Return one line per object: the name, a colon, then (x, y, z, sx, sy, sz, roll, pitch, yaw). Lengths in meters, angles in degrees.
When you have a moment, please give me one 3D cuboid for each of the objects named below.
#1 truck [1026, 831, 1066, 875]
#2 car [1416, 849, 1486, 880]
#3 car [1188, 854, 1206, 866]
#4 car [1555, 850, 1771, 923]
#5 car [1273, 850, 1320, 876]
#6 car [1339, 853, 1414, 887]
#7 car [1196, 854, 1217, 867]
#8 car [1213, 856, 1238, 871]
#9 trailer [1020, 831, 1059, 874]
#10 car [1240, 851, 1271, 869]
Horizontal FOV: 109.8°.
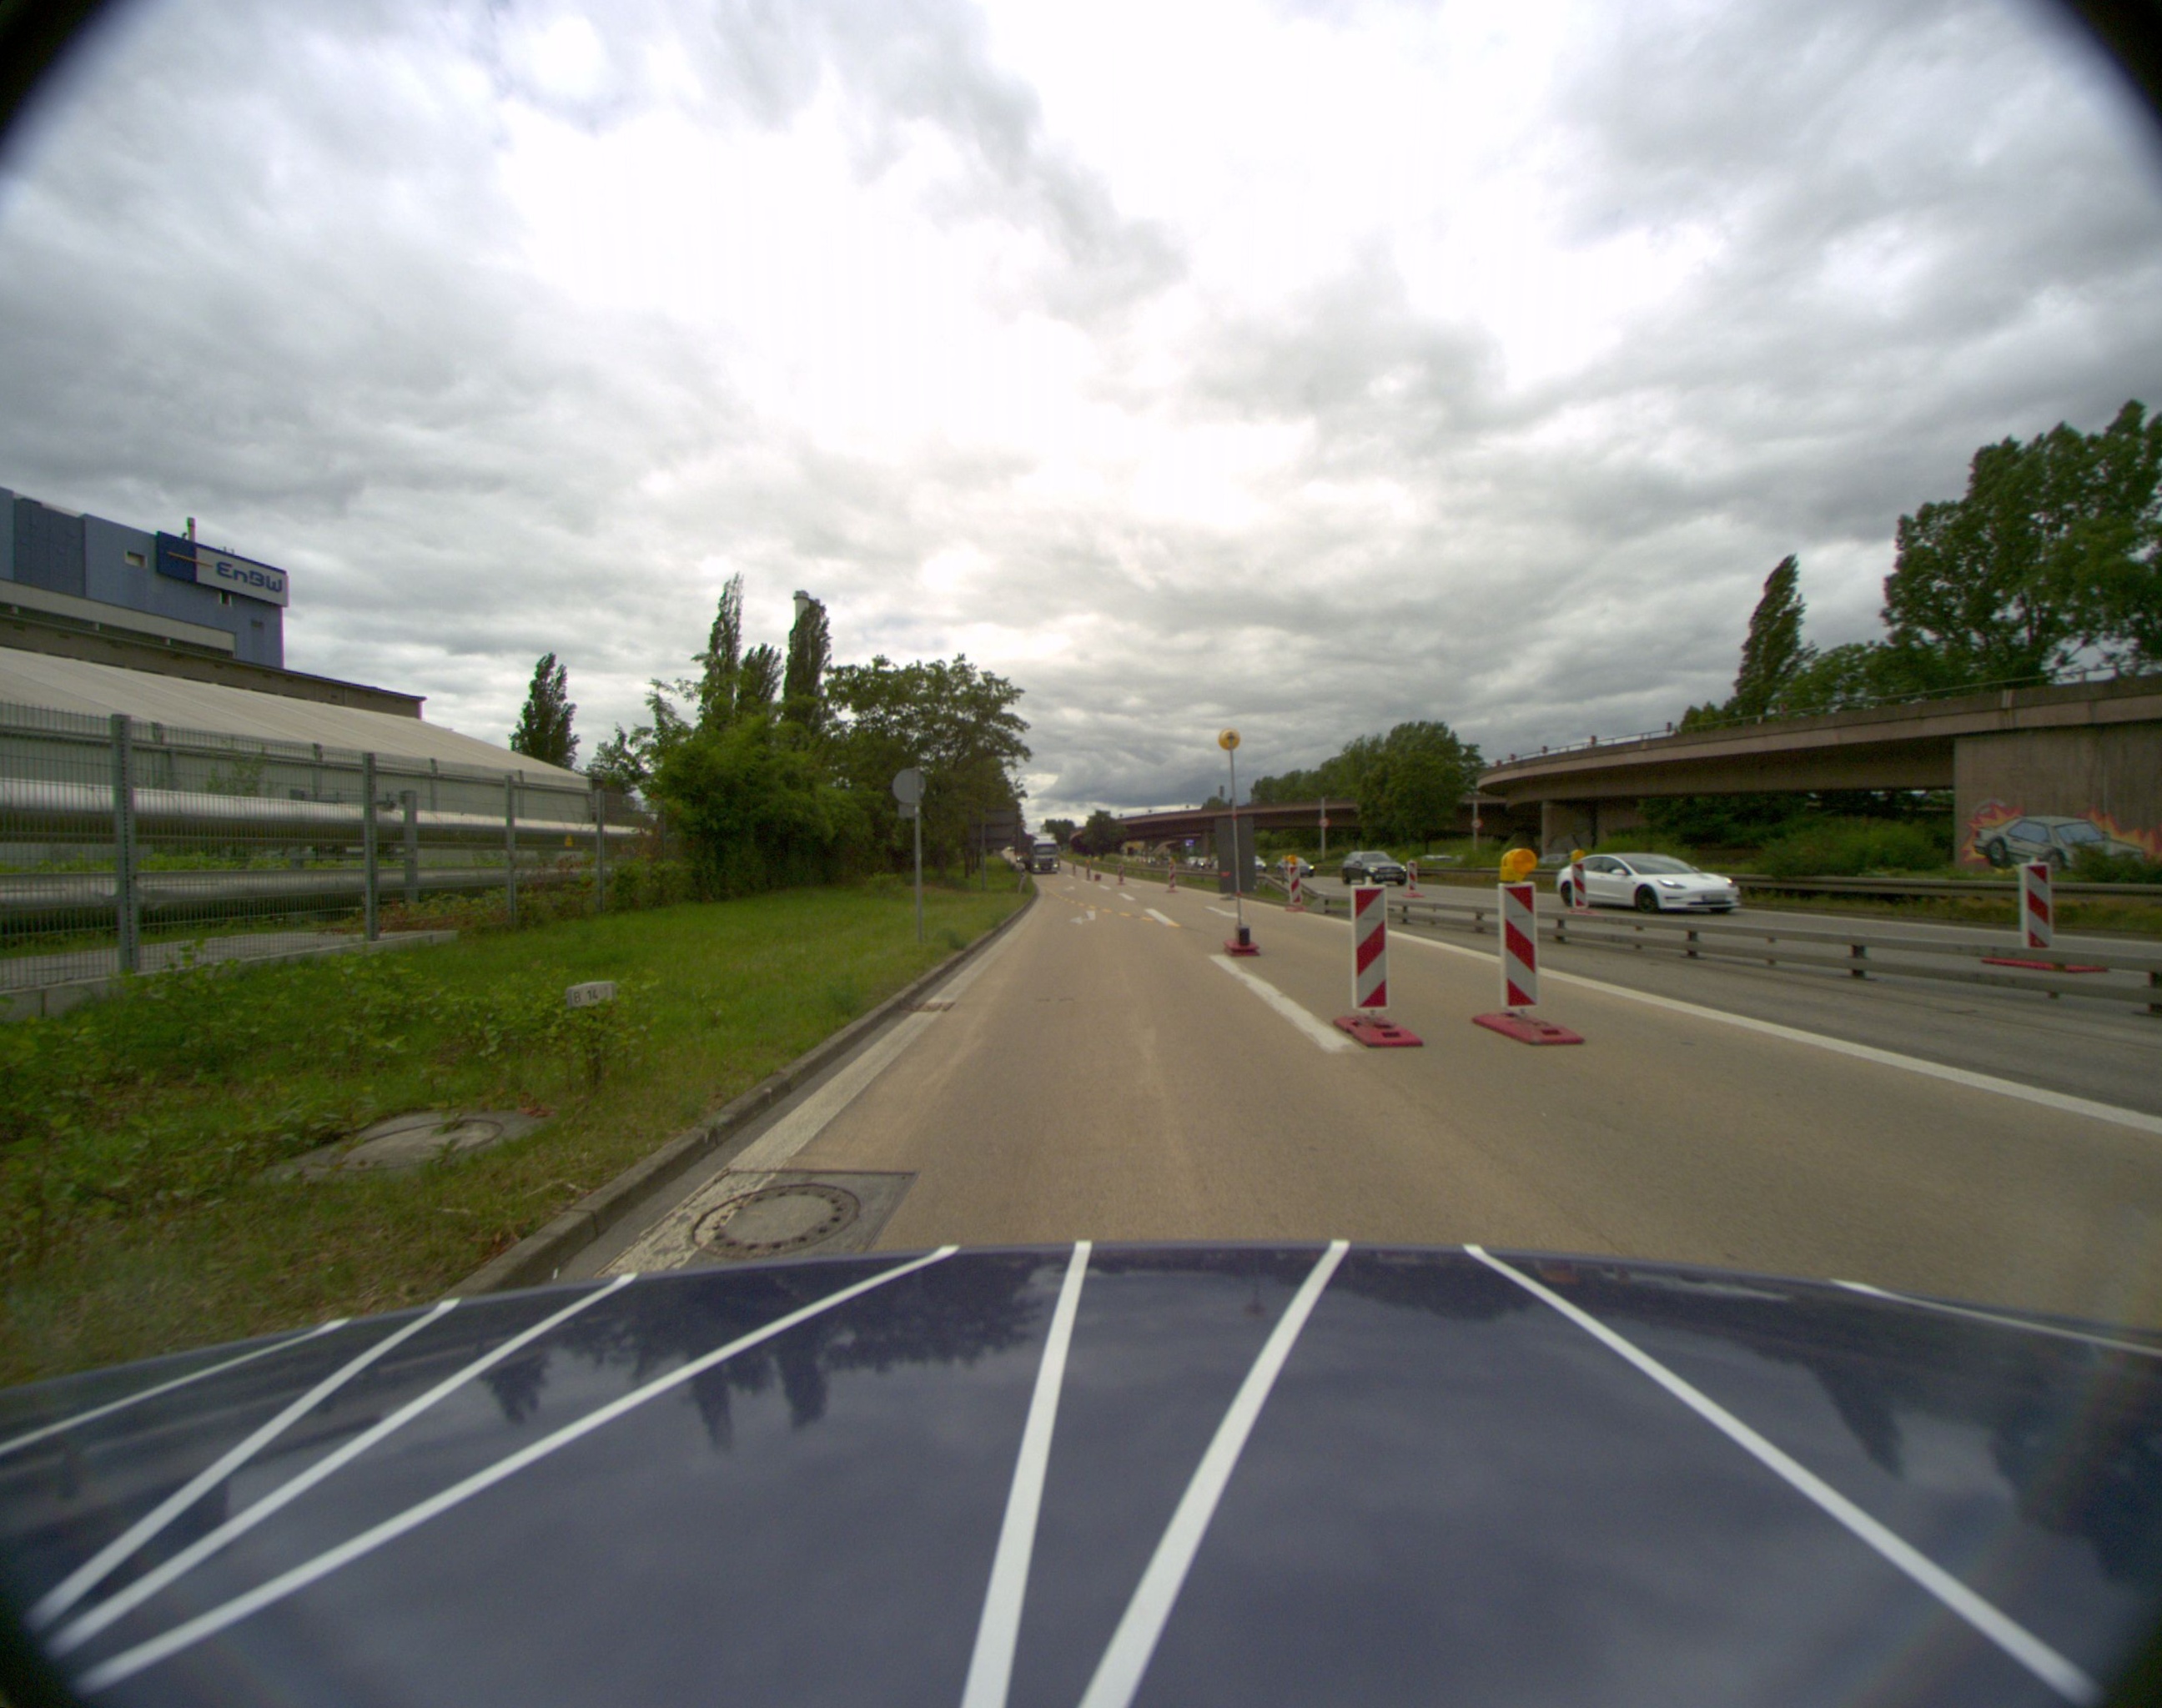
truck: (-3.729, -0.076, 78.524, 3.164, 4.106, 8.135, -3, 0, -9)
car: (20.810, 0.537, 42.950, 1.859, 1.630, 4.291, -1, 0, 0)
car: (16.316, 0.816, 106.984, 1.998, 1.584, 4.292, 0, 0, 1)
car: (14.147, 0.710, 18.875, 1.998, 1.532, 4.460, -2, 0, 1)
car: (14.940, 0.607, 52.881, 1.936, 1.693, 3.999, 0, 0, -3)
car: (14.339, 0.745, 37.143, 1.980, 1.502, 4.292, -2, 0, 0)
car: (15.764, 0.817, 95.602, 1.998, 1.584, 4.292, 0, 0, 1)
car: (15.458, 1.015, 81.295, 1.998, 1.584, 4.000, 0, 0, 1)
trailer: (-4.825, -0.111, 85.788, 3.166, 4.298, 13.255, -2, 0, -8)
car: (15.060, 0.503, 65.703, 1.802, 1.503, 3.999, 0, 1, 1)
